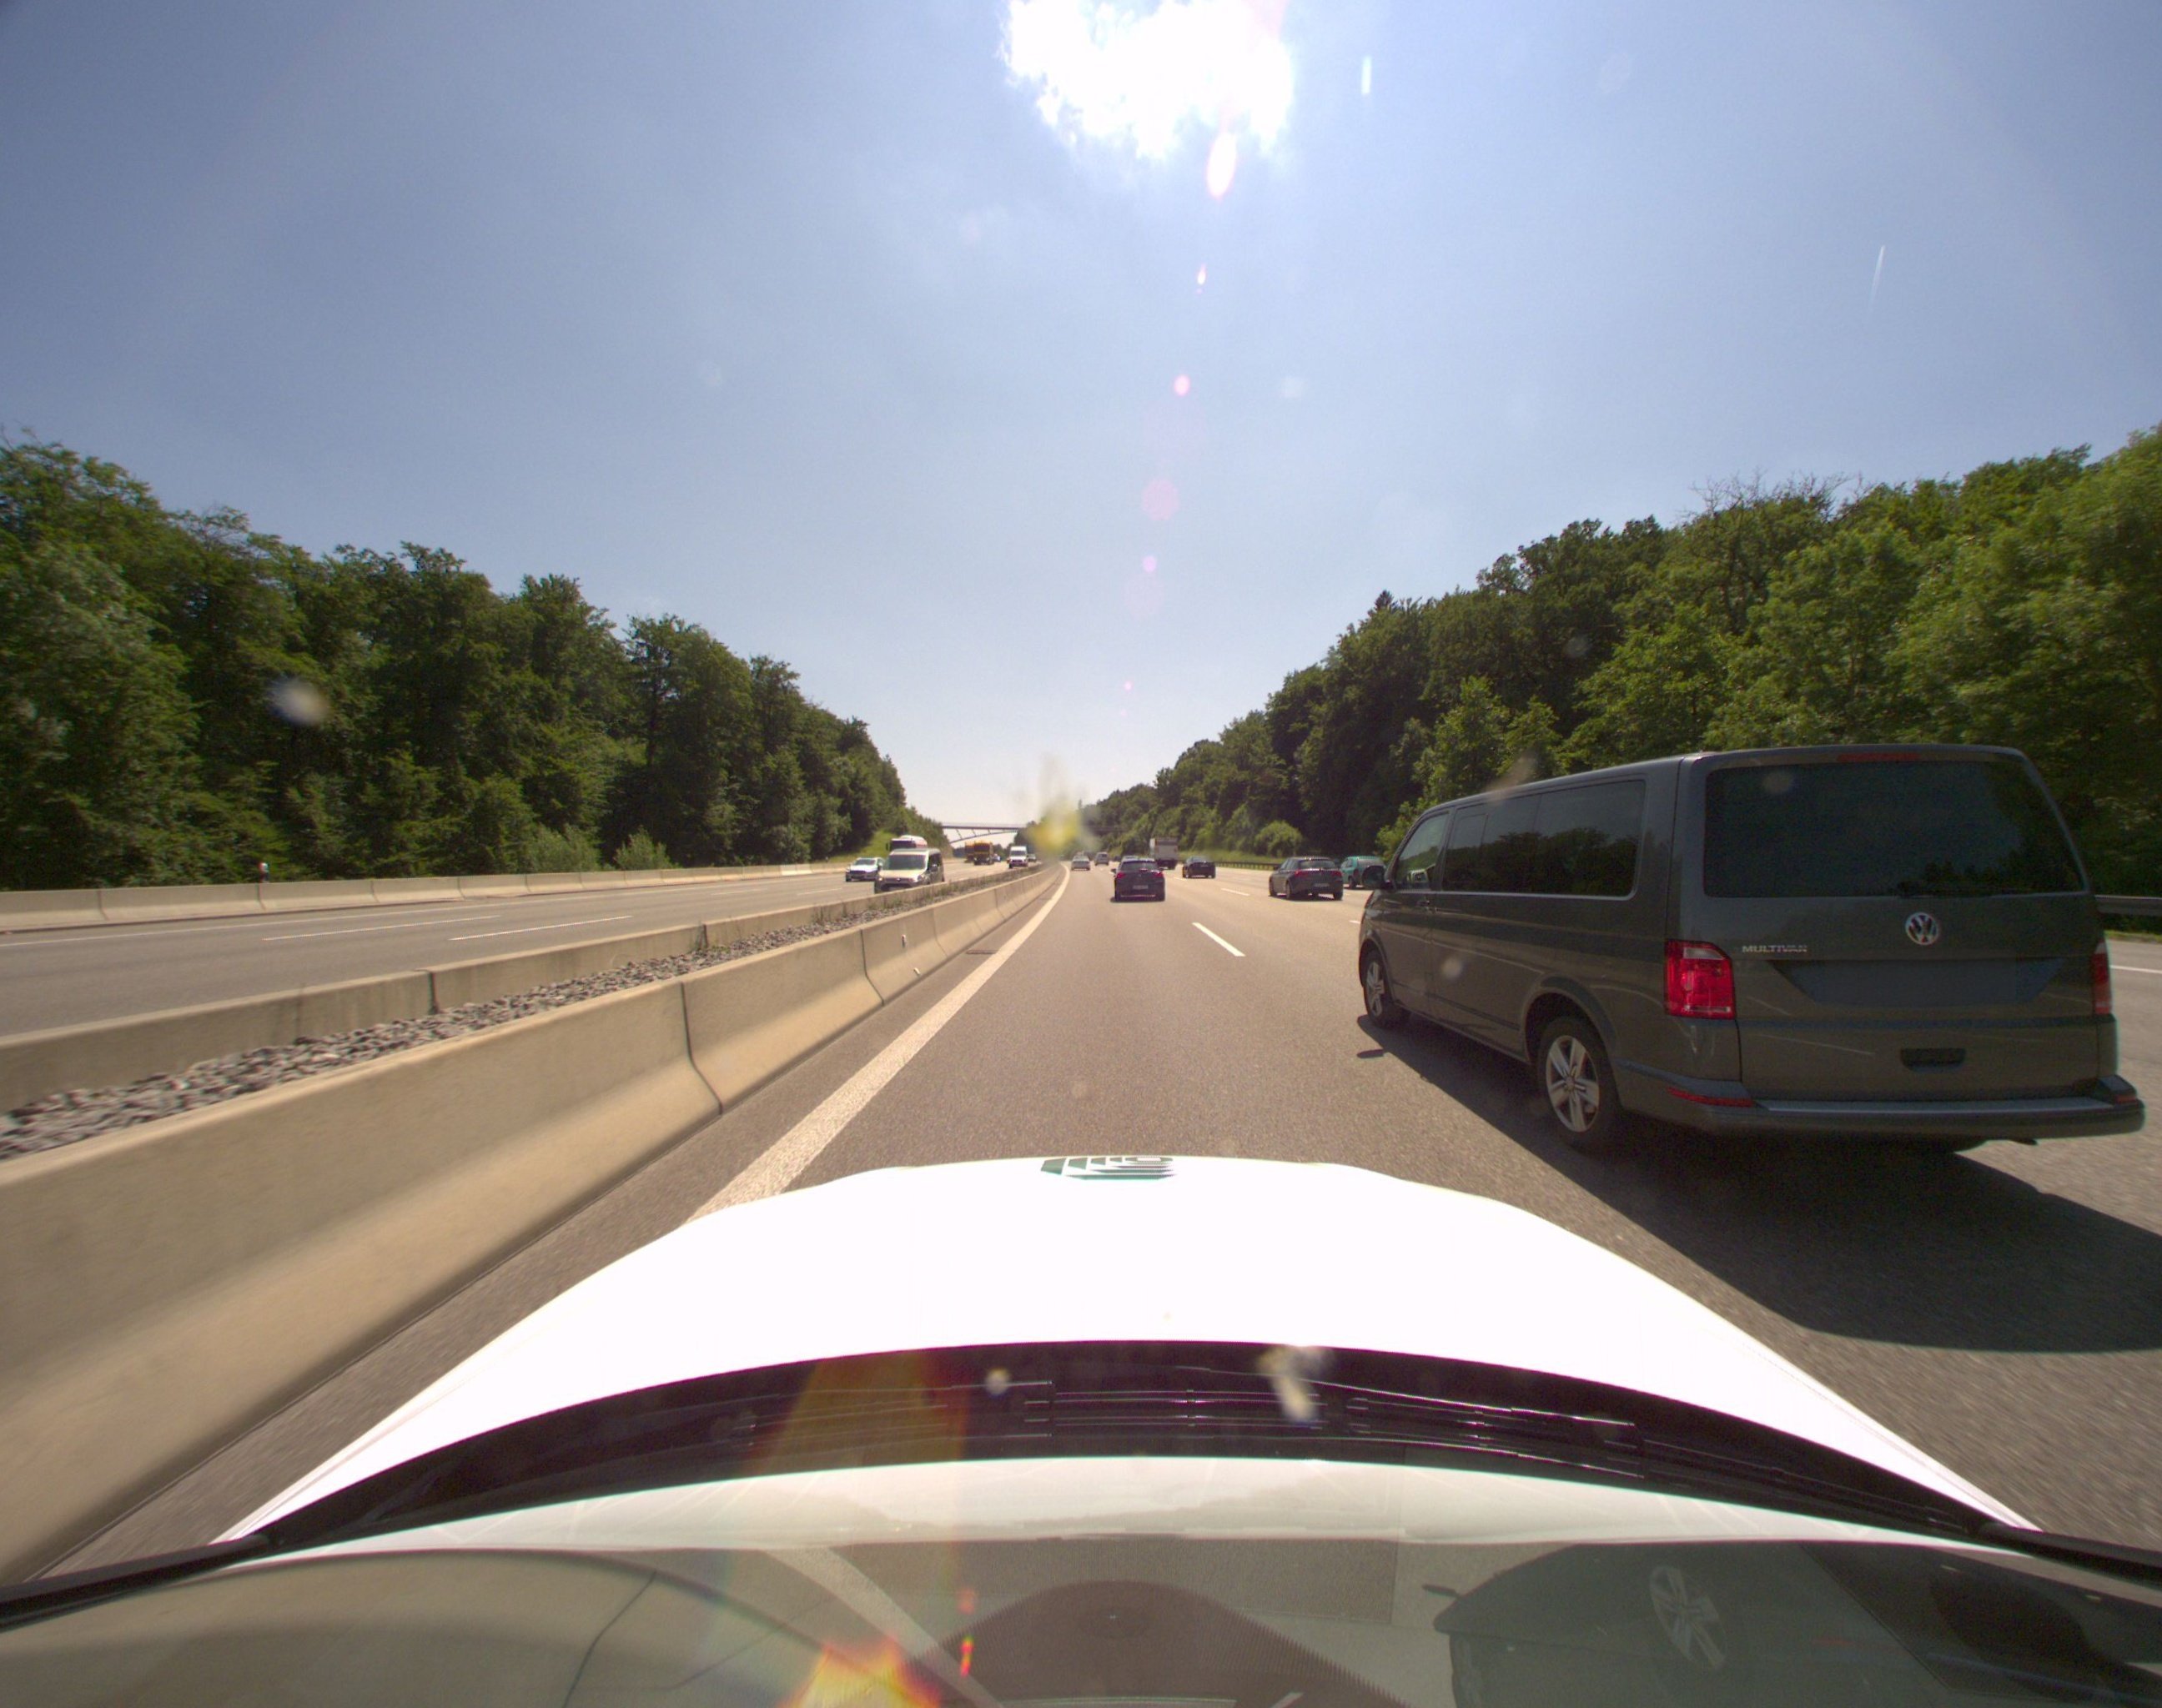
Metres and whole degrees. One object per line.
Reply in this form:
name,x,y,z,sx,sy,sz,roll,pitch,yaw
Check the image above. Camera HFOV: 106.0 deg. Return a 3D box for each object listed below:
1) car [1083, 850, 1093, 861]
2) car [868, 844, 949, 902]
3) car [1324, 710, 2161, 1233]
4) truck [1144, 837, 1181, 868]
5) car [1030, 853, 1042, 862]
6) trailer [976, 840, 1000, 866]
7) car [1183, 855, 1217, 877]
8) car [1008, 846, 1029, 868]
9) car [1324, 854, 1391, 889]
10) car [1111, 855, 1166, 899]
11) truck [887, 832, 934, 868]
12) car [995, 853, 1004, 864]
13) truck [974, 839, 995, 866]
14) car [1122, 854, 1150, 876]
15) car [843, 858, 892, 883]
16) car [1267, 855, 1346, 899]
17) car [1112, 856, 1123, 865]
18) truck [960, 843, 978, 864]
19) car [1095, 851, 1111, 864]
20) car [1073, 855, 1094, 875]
car,1.517,0.309,188.450,2.257,2.371,4.701,0,-1,0
car,-6.010,0.620,28.888,1.813,1.871,4.589,-1,0,1
car,3.415,0.465,5.741,1.956,2.033,5.084,-1,0,1
truck,8.463,-0.151,85.584,2.977,3.167,7.569,0,0,-2
car,-8.586,0.595,155.238,1.987,1.705,4.951,0,0,0
trailer,-14.838,-0.131,130.497,2.530,3.880,11.691,-1,0,0
car,7.717,0.747,53.267,1.659,1.408,4.905,0,0,2
car,-7.124,0.343,93.326,2.149,2.490,4.699,0,0,-2
car,12.214,0.773,36.231,1.539,1.444,4.340,1,-1,0
car,1.957,0.748,28.565,1.702,1.433,4.001,0,0,1
truck,-17.456,-0.326,83.901,2.601,3.466,9.881,1,-1,0
car,-16.963,0.978,169.629,1.638,2.014,3.998,1,-2,0
truck,-14.778,-0.189,125.296,2.523,3.940,6.798,-1,0,-1
car,4.482,0.905,67.037,1.987,1.728,4.148,0,-2,0
car,-13.311,0.991,51.073,1.756,1.482,4.495,1,0,2
car,7.651,0.730,27.996,1.695,1.396,4.155,0,0,2
car,7.542,1.415,169.332,2.138,1.858,4.000,1,0,1
truck,-21.654,-0.055,157.729,2.742,4.017,6.748,0,0,-1
car,3.089,0.461,114.625,2.096,1.744,4.688,0,0,1
car,0.232,1.153,81.516,2.005,1.846,4.000,0,-3,1
